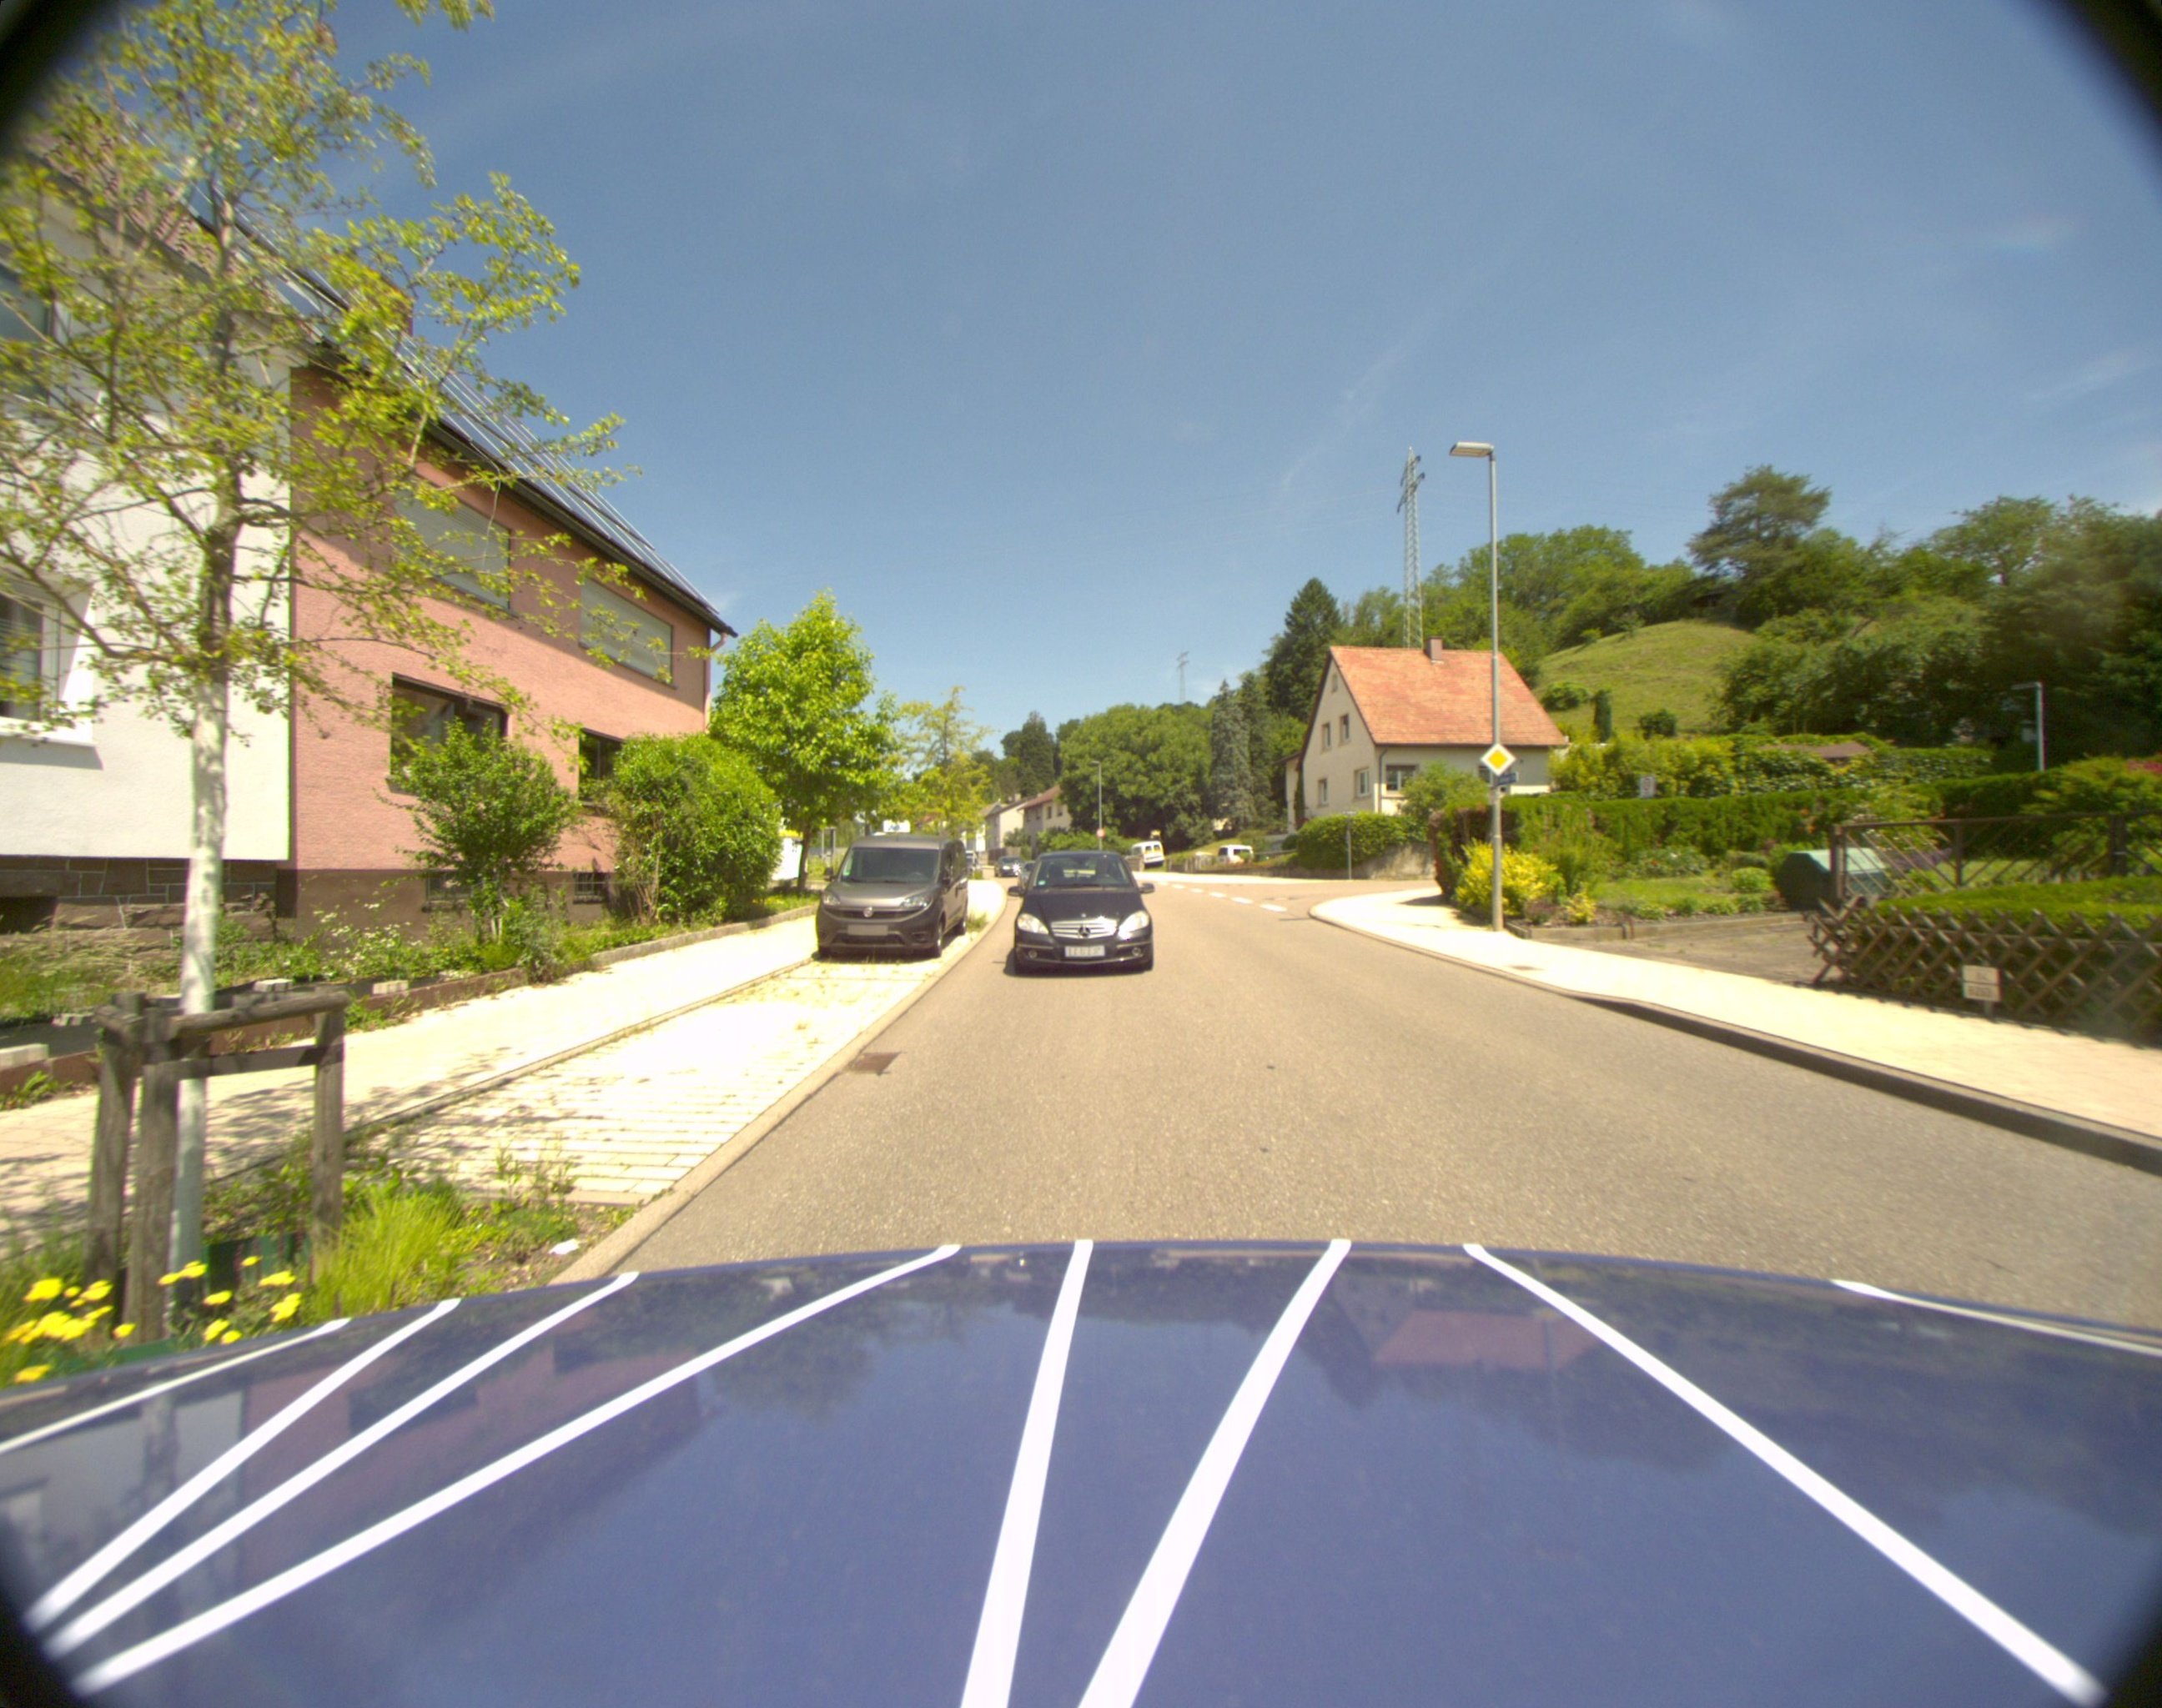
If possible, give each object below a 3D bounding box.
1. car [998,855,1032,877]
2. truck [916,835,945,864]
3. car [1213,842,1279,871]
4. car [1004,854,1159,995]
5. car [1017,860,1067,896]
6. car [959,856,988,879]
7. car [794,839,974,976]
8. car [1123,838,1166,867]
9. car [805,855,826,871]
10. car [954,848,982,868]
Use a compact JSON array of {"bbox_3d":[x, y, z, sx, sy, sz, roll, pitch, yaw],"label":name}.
[{"bbox_3d":[-4.505,0.776,51.550,1.912,1.342,3.996,-1,0,-10],"label":"car"},{"bbox_3d":[-18.846,-0.511,94.952,2.809,3.394,8.108,-2,0,-16],"label":"truck"},{"bbox_3d":[11.048,0.167,50.935,4.004,1.779,1.808,-2,0,-21],"label":"car"},{"bbox_3d":[-0.087,0.830,11.027,1.791,1.595,4.074,-2,0,-3],"label":"car"},{"bbox_3d":[-1.584,0.906,29.839,1.668,1.253,3.550,-1,0,-7],"label":"car"},{"bbox_3d":[-6.668,0.805,47.123,1.676,1.368,3.997,0,0,-8],"label":"car"},{"bbox_3d":[-2.963,0.710,12.513,1.860,1.832,4.669,0,0,-1],"label":"car"},{"bbox_3d":[4.450,-0.073,53.754,1.706,1.937,3.994,-2,0,-17],"label":"car"},{"bbox_3d":[-23.741,0.823,67.933,1.747,1.357,3.834,-1,0,-19],"label":"car"},{"bbox_3d":[-10.691,0.380,71.785,1.971,1.823,4.458,0,0,-16],"label":"car"}]
